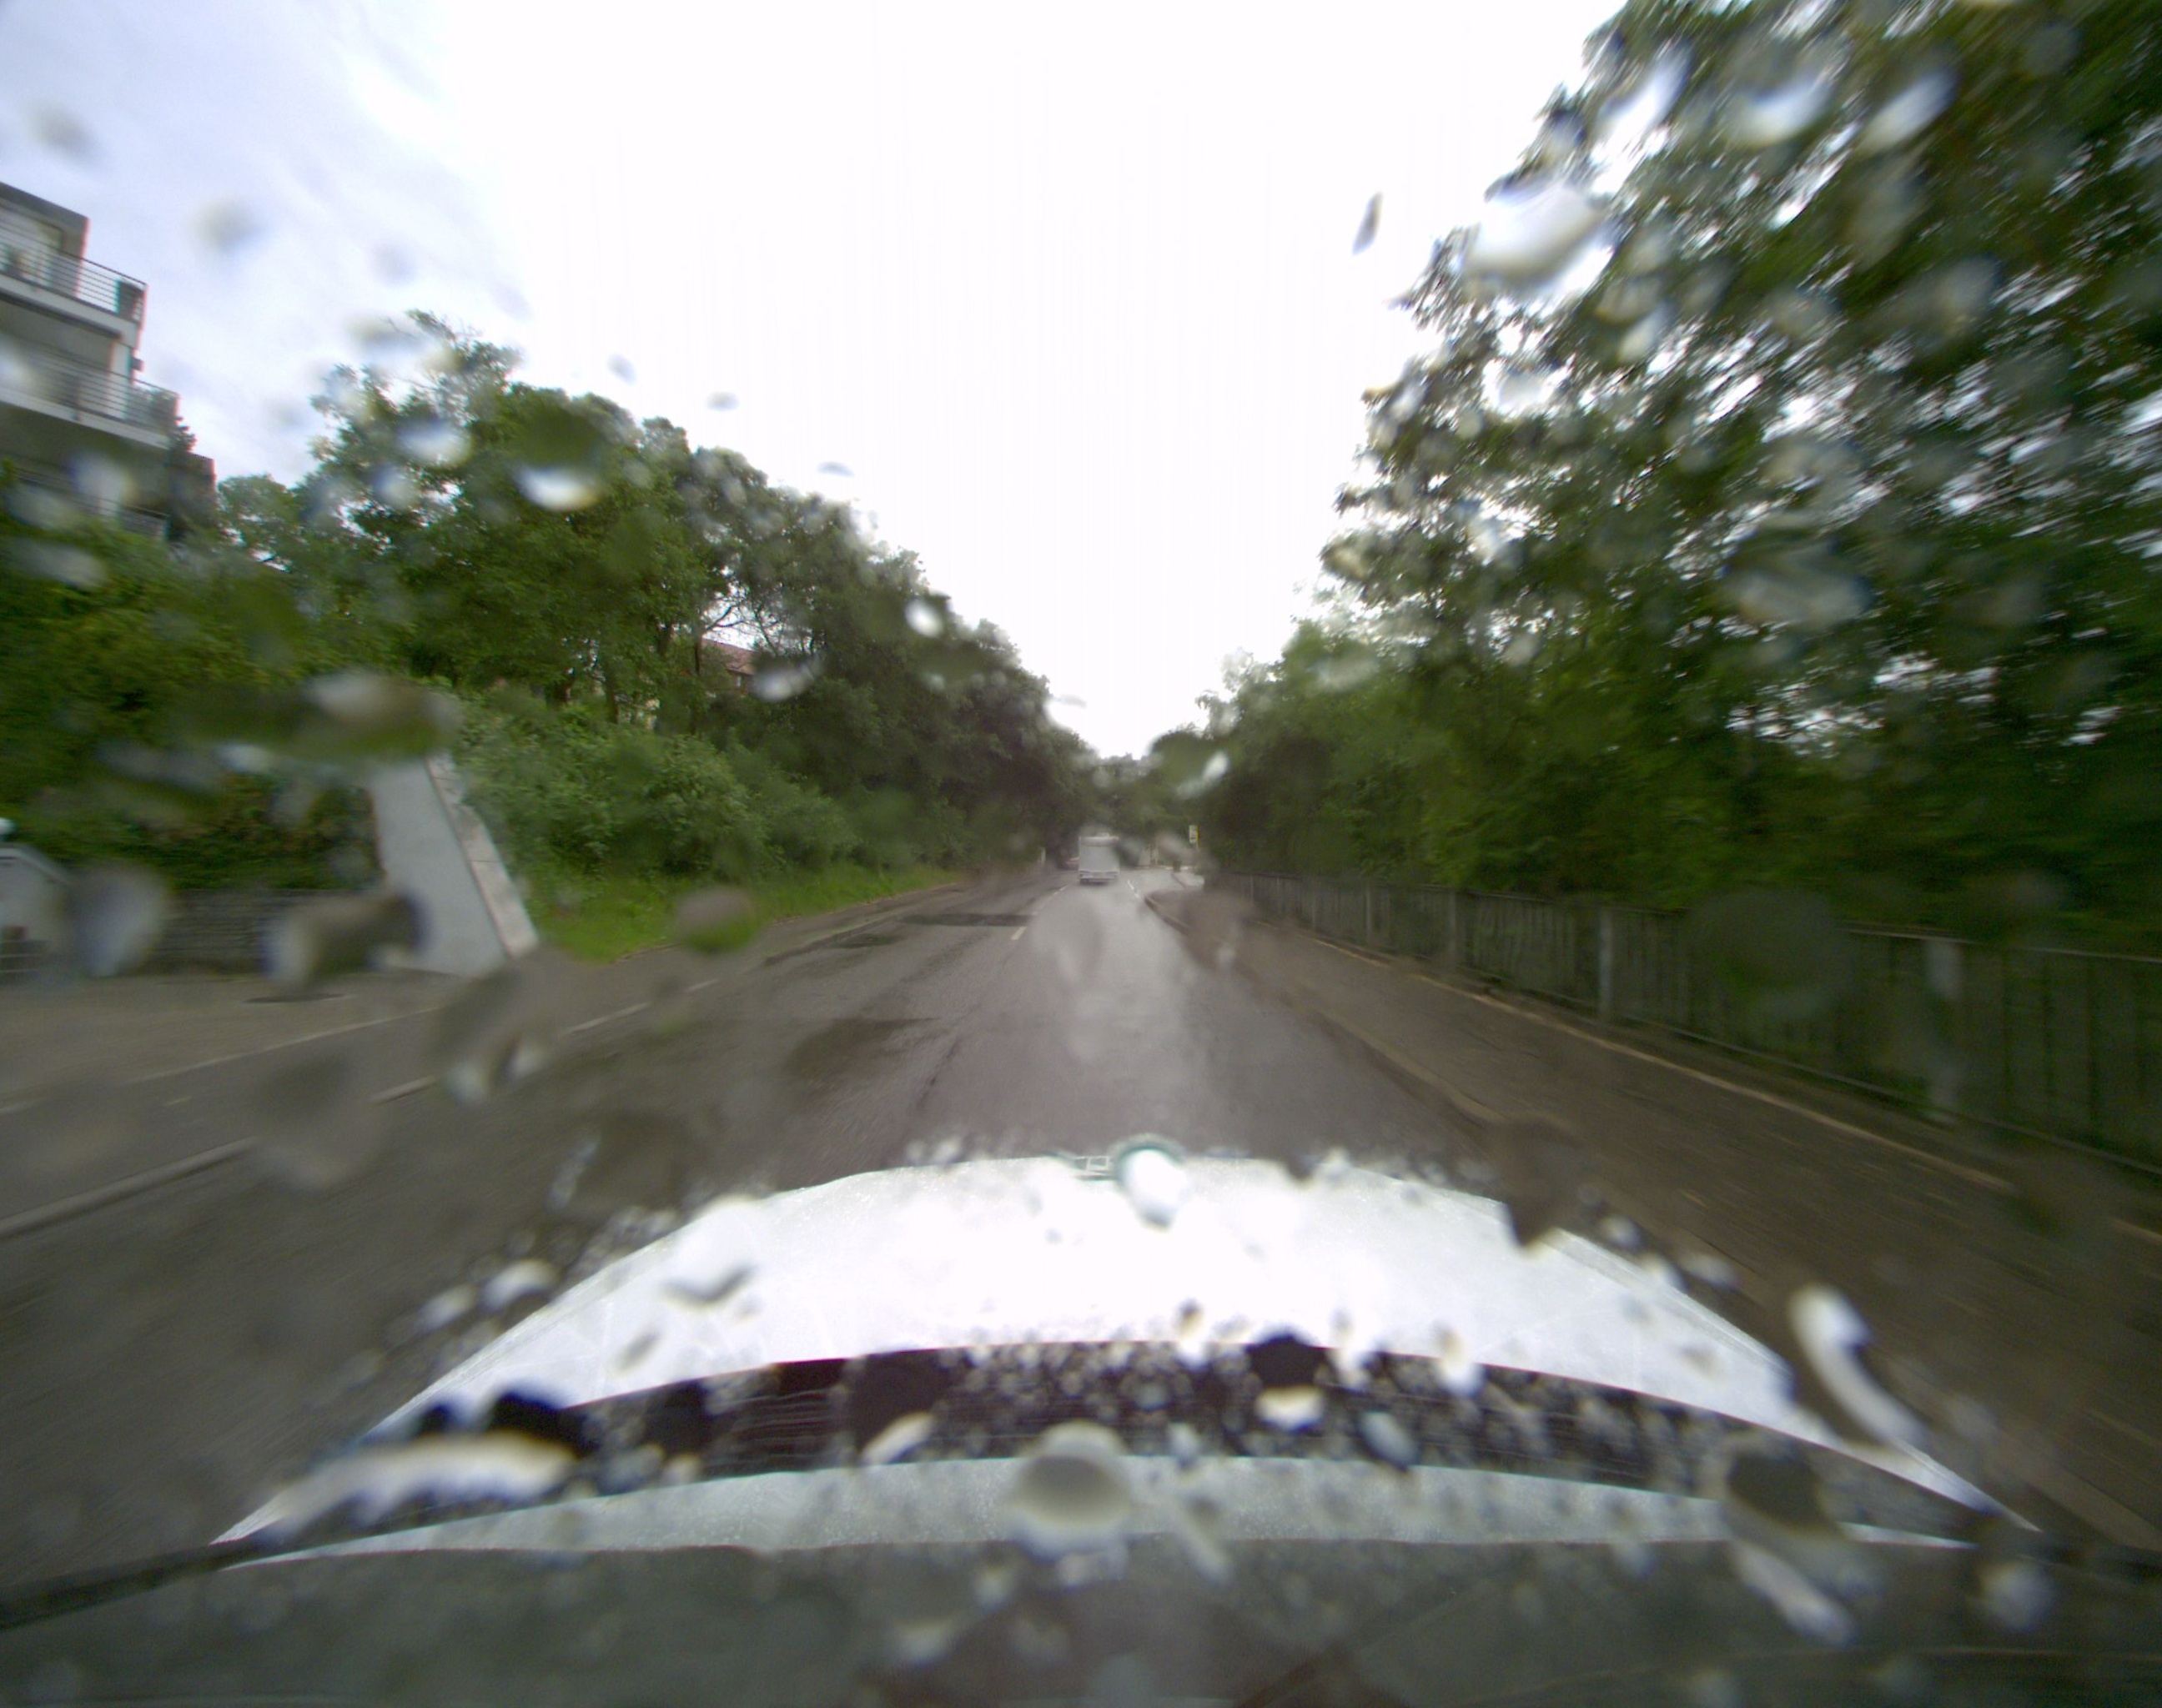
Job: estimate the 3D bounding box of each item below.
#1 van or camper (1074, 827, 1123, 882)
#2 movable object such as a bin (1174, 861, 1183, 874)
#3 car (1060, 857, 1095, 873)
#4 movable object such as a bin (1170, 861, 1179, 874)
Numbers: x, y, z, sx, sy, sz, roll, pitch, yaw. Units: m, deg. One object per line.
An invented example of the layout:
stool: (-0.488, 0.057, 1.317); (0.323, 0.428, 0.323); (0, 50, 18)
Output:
van or camper: (0.954, 0.088, 47.806); (2.533, 2.925, 5.944); (-3, -1, -1)
movable object such as a bin: (8.933, 1.216, 74.517); (0.773, 1.133, 0.740); (0, 0, 10)
car: (-0.339, 1.065, 81.908); (1.977, 1.561, 4.676); (1, 0, 20)
movable object such as a bin: (8.389, 1.196, 73.106); (0.773, 1.133, 0.740); (0, 0, 10)
